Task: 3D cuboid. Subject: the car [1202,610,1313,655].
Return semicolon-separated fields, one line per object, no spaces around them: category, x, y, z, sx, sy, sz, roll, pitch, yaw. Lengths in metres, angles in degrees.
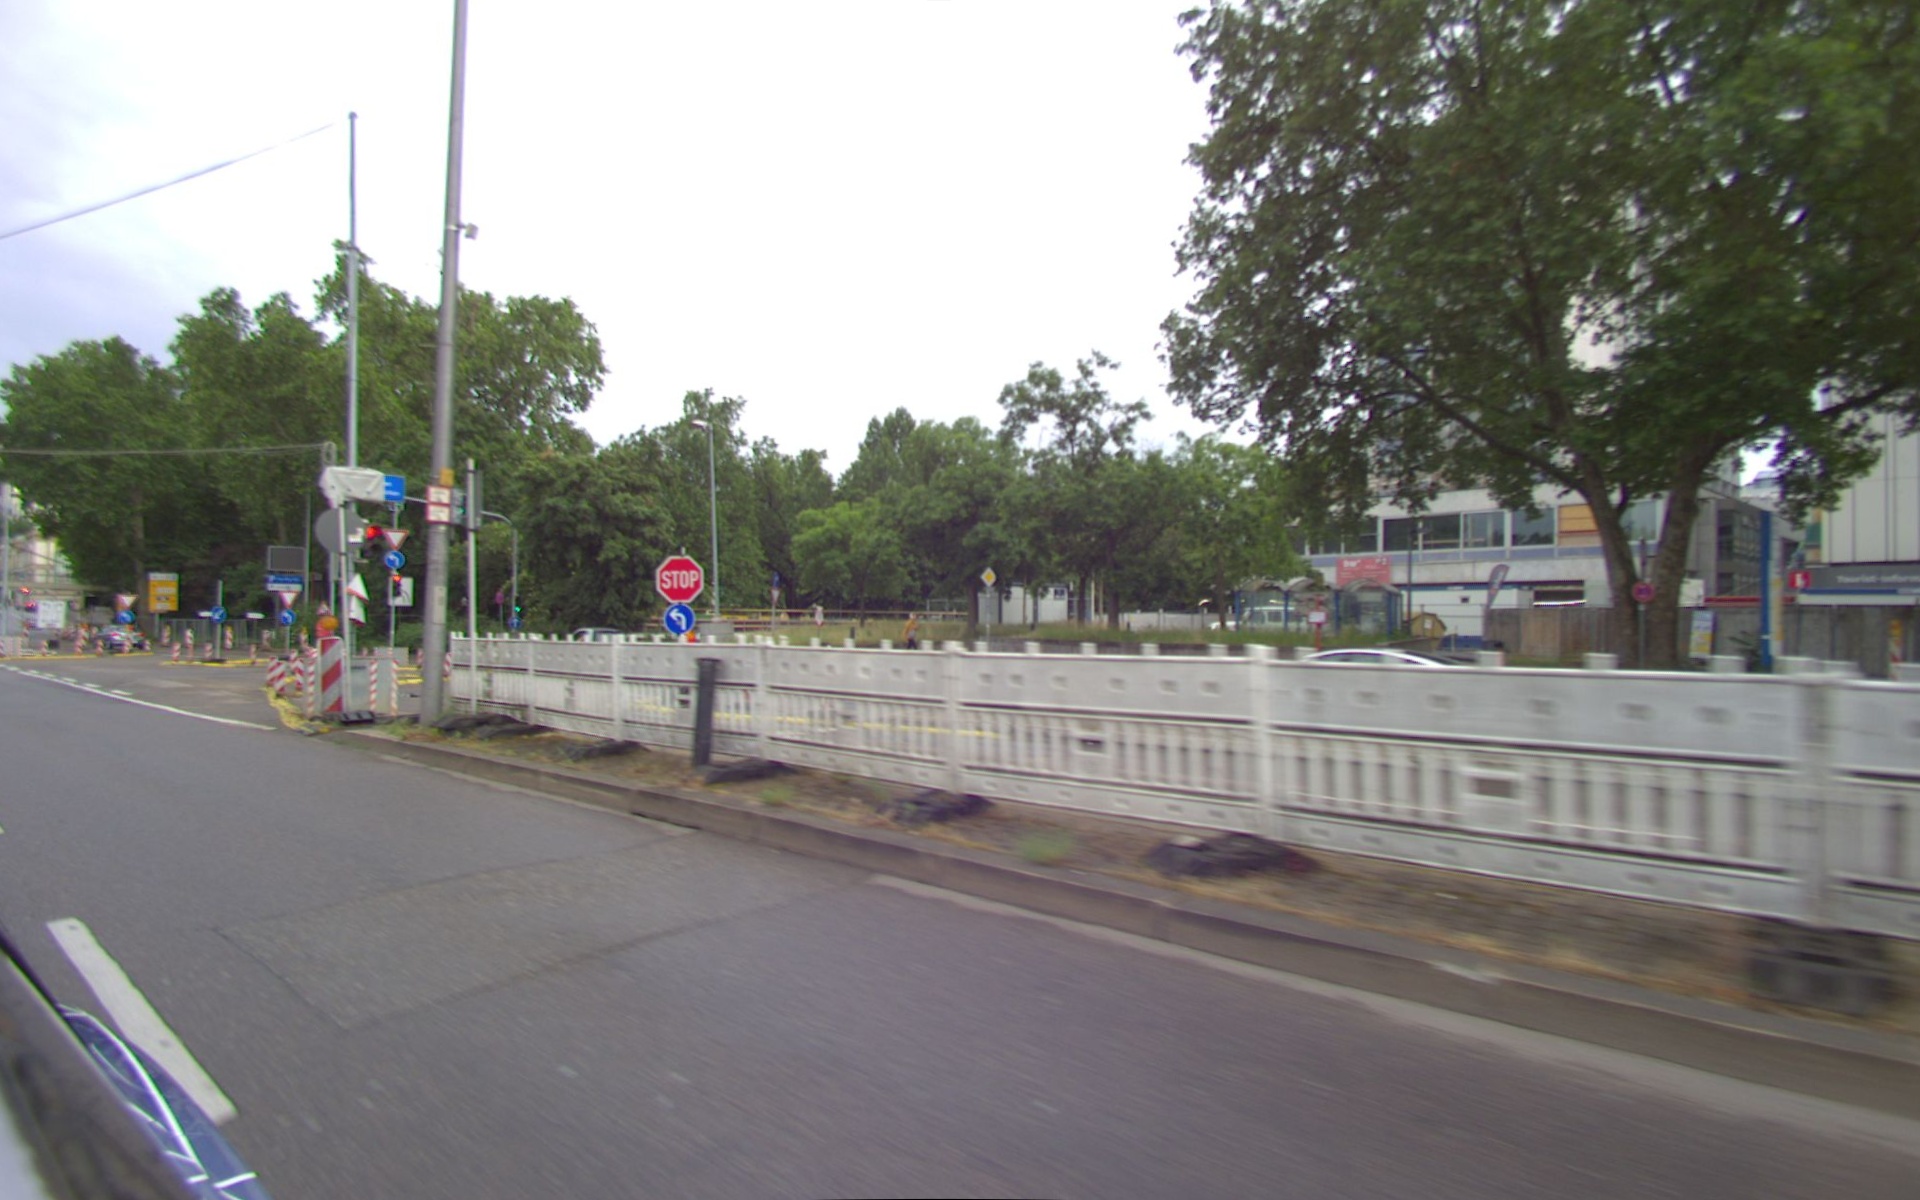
car;13.840;1.507;47.313;4.783;2.029;2.028;0;-1;11

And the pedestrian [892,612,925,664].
pedestrian;-1.735;1.297;34.314;0.950;1.738;0.551;-5;-4;41

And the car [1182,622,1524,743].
car;6.243;1.217;16.516;1.971;1.644;4.821;0;-1;-45

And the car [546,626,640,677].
car;-12.087;1.660;33.274;3.175;1.554;1.659;0;-2;44

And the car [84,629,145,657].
car;-51.062;2.600;61.098;4.143;1.554;1.646;-3;-2;32
